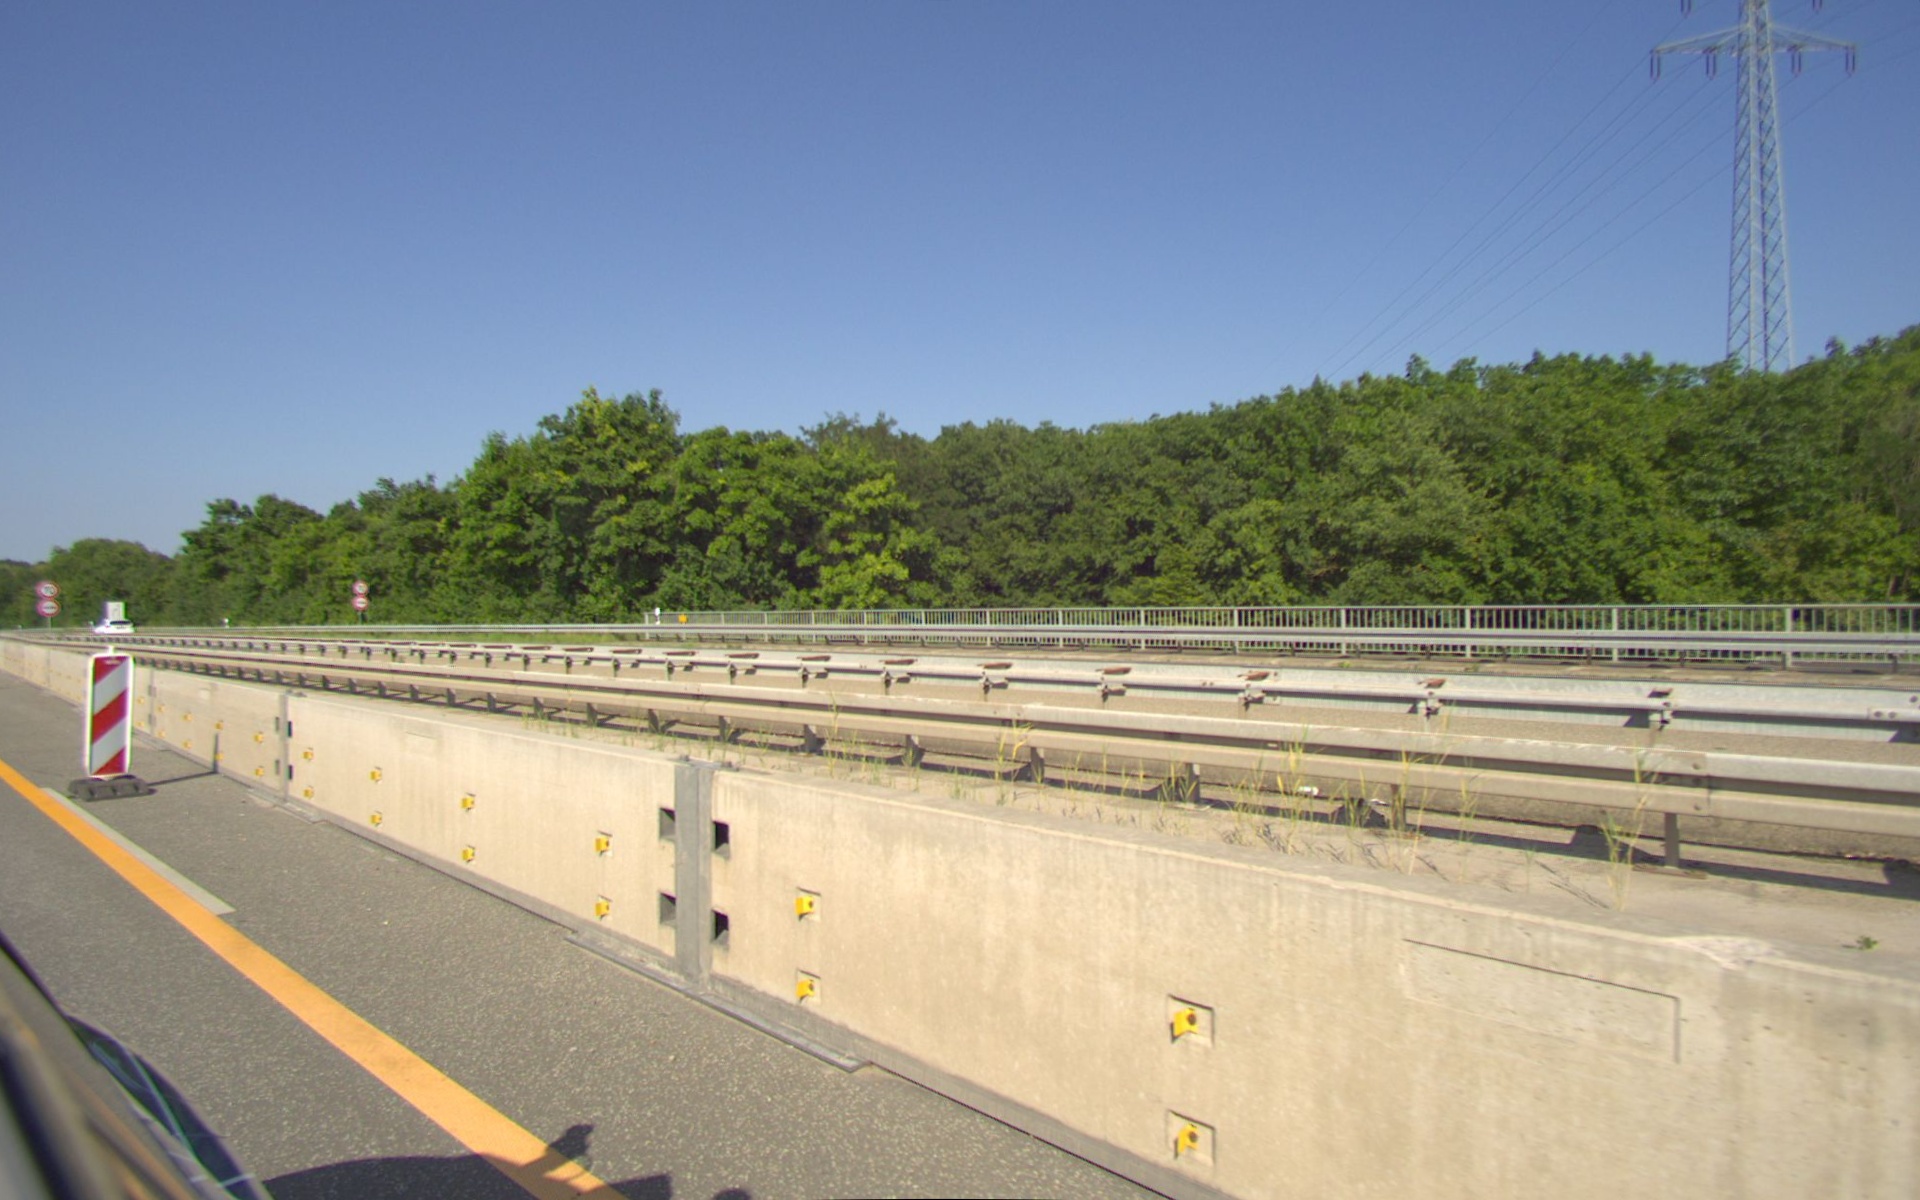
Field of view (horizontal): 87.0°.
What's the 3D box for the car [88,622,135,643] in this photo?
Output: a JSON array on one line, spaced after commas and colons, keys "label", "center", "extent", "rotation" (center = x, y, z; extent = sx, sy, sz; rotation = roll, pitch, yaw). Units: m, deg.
[{"label": "car", "center": [-57.792, 2.185, 68.901], "extent": [4.549, 1.349, 1.721], "rotation": [-1, 0, 41]}]
